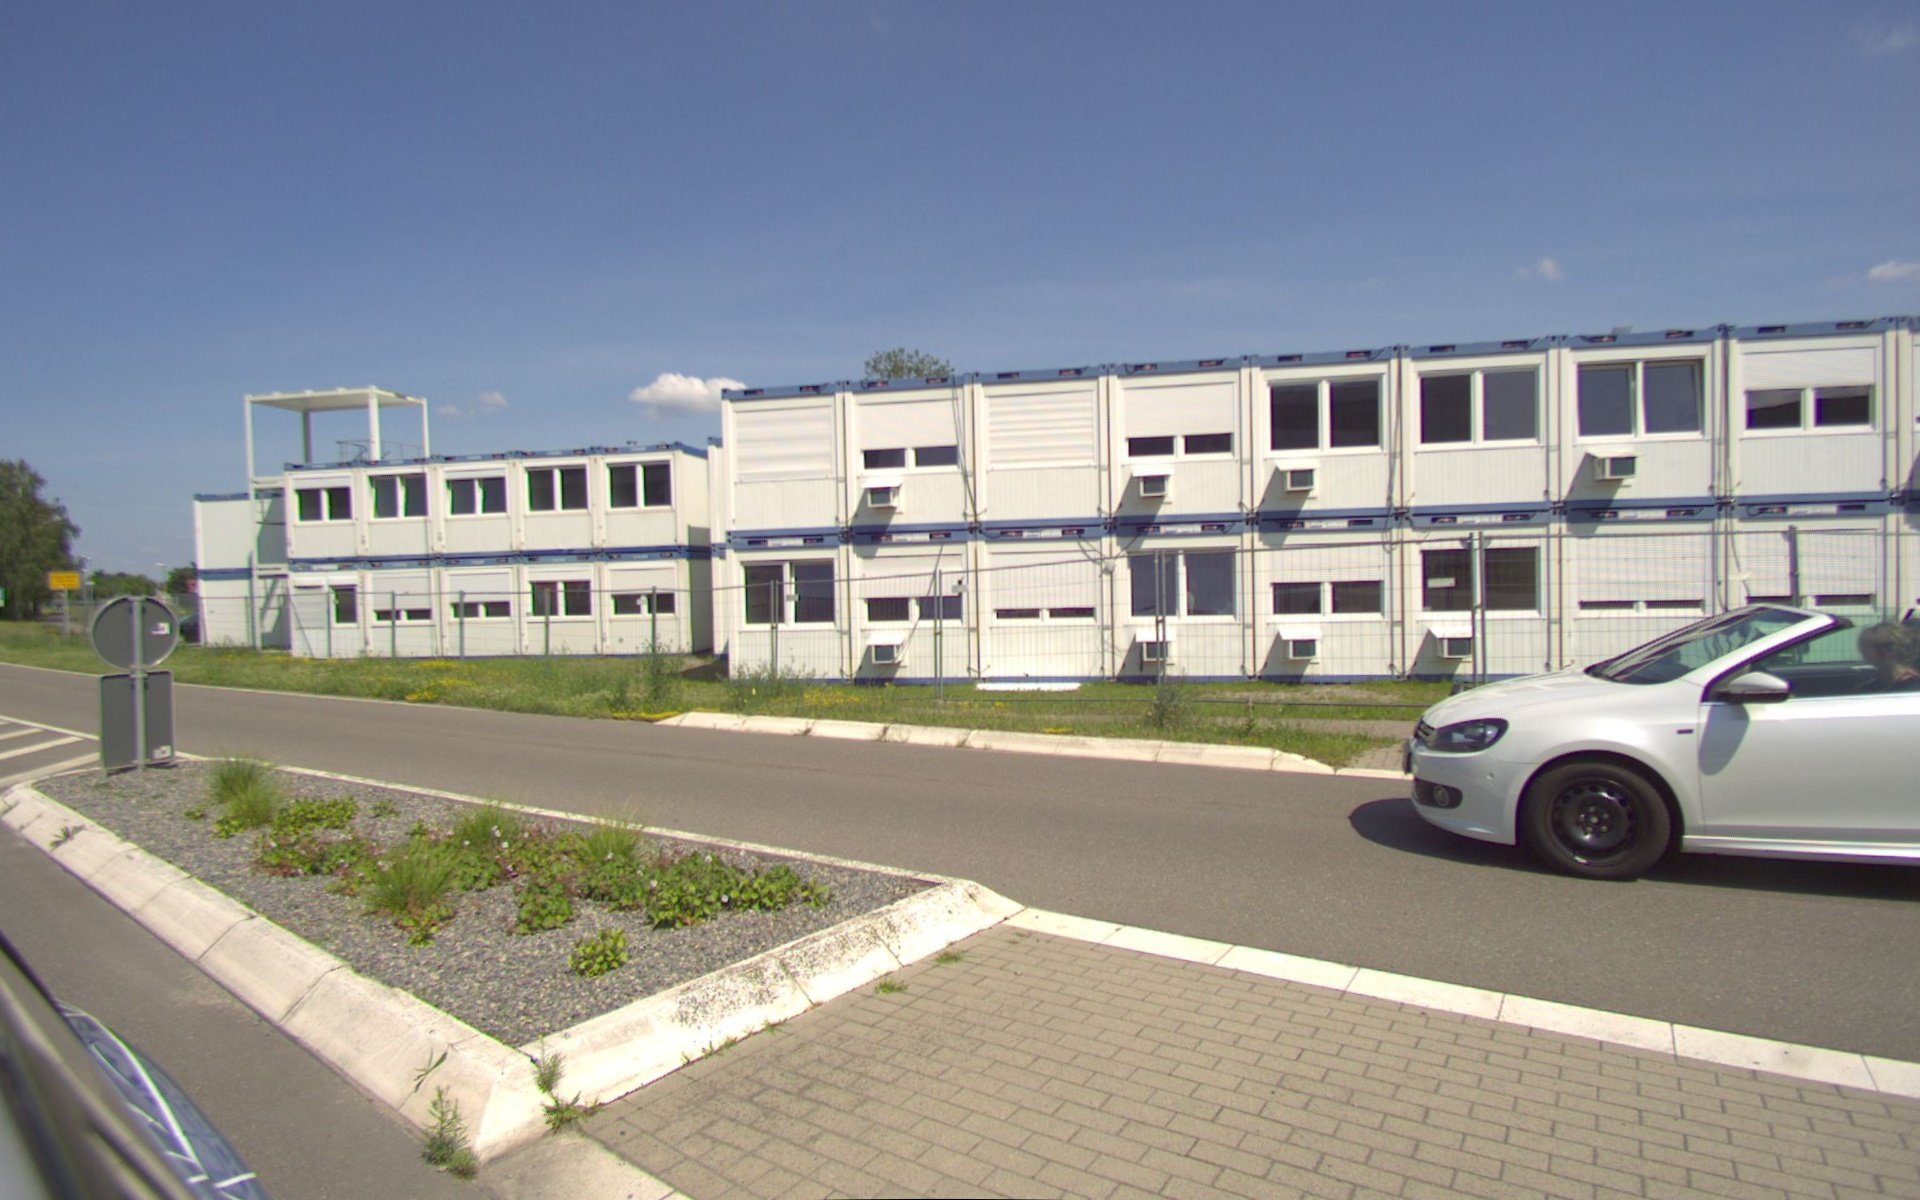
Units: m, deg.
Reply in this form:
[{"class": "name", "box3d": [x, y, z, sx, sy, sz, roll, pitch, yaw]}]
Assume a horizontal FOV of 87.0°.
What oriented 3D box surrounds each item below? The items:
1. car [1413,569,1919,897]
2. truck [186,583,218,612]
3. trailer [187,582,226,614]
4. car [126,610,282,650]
[{"class": "car", "box3d": [4.588, 0.569, 5.215, 4.026, 1.439, 1.762, -2, 0, 24]}, {"class": "truck", "box3d": [-99.155, -0.346, 132.288, 3.062, 3.672, 10.615, -1, 1, -38]}, {"class": "trailer", "box3d": [-91.170, -0.291, 122.325, 3.248, 3.672, 14.954, -1, 1, -38]}, {"class": "car", "box3d": [-32.256, 1.239, 43.345, 1.992, 1.427, 4.935, -1, 1, 30]}]
